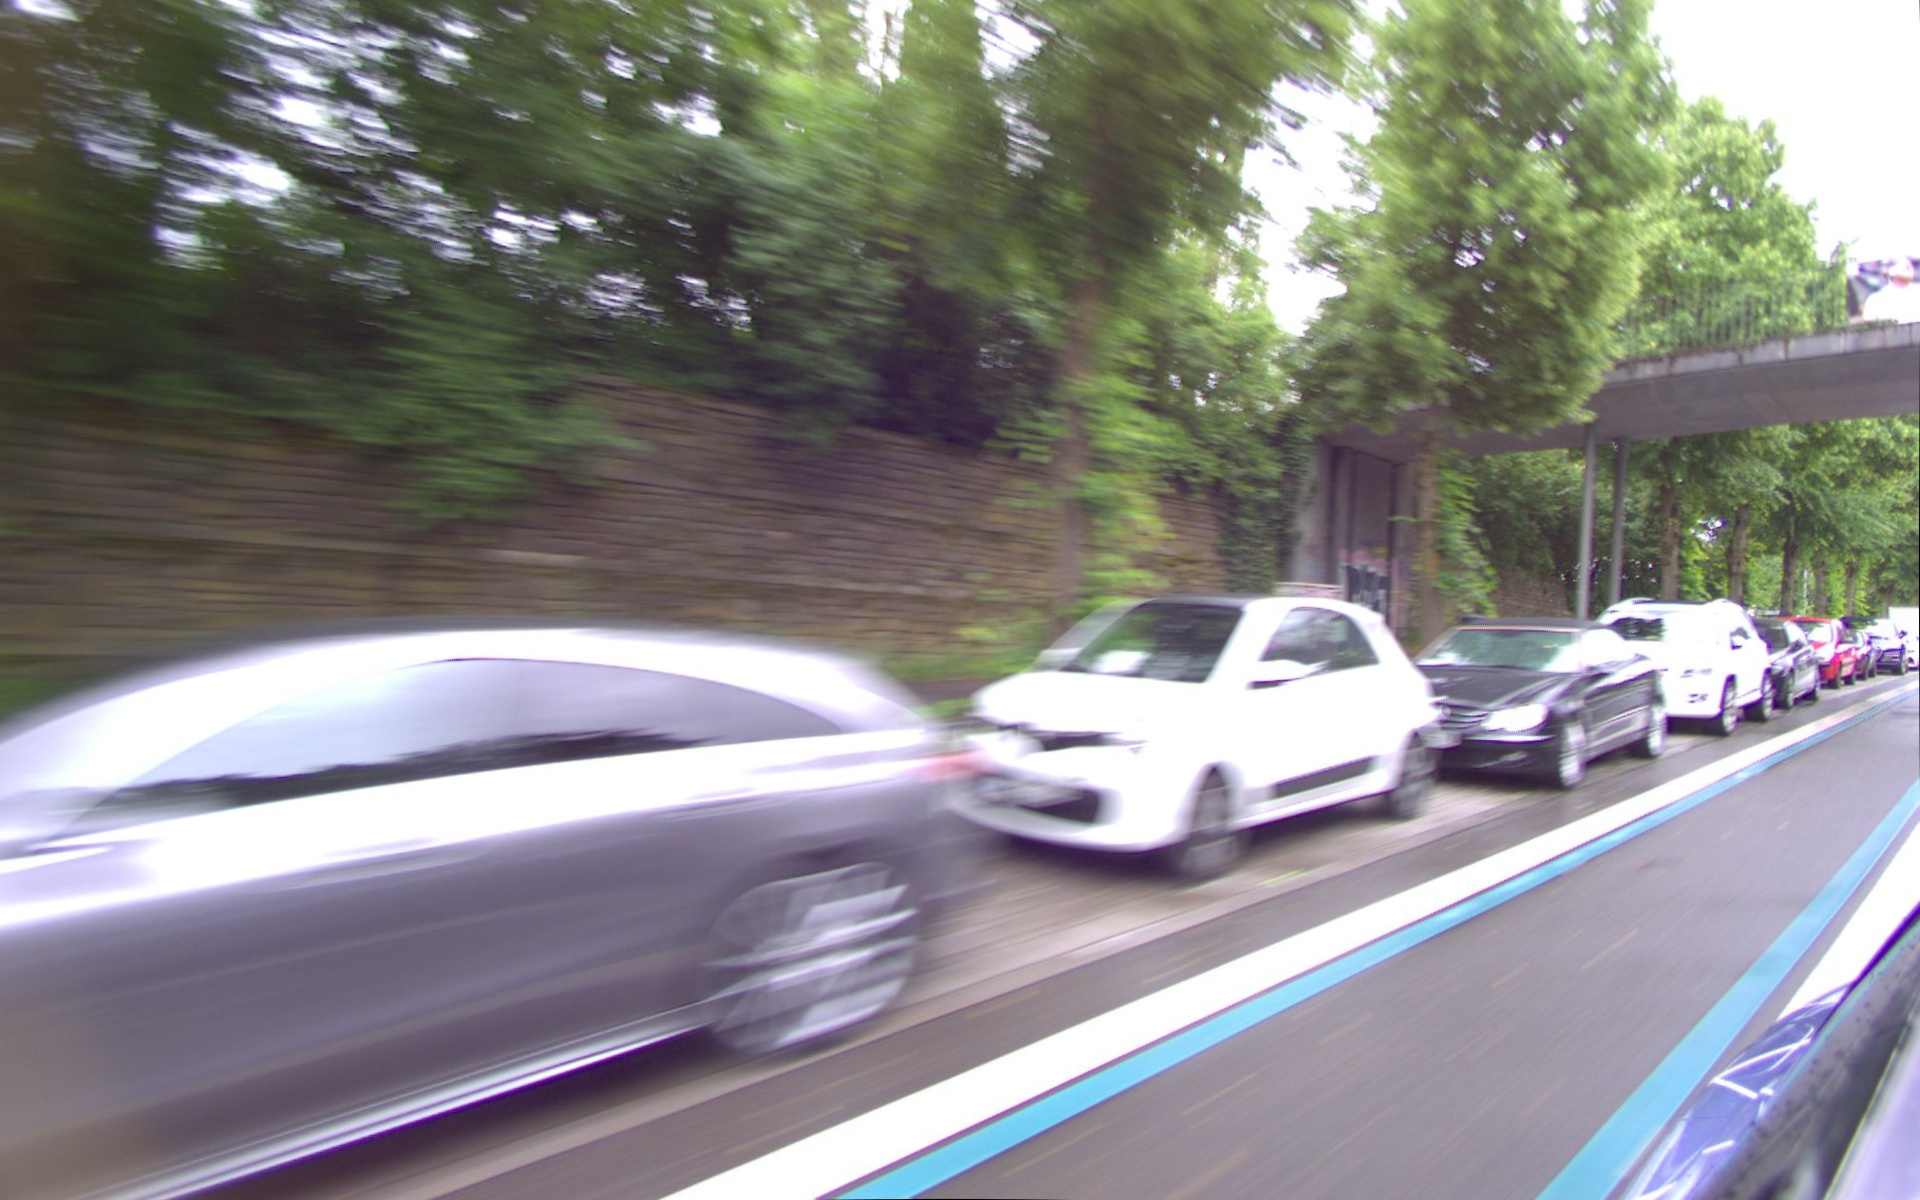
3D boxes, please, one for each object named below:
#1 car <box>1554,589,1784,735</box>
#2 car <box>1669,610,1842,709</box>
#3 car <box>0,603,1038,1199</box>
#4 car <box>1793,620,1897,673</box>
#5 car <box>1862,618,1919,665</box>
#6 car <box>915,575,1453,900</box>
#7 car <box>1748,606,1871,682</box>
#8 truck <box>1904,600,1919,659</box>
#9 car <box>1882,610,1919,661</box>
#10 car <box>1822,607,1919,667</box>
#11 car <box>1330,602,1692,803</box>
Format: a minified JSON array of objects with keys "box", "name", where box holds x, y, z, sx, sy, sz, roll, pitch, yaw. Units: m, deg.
[{"box":[9.567,0.708,13.531,4.189,1.639,1.715,1,0,-43],"name":"car"},{"box":[13.775,0.920,17.434,4.375,1.411,1.675,0,1,-43],"name":"car"},{"box":[-1.943,0.711,3.076,4.387,1.365,1.778,0,0,-40],"name":"car"},{"box":[22.887,1.185,26.131,4.112,1.205,1.627,3,-1,-43],"name":"car"},{"box":[31.288,1.380,33.469,4.537,1.444,1.662,3,-1,-42],"name":"car"},{"box":[1.644,0.662,6.703,3.677,1.554,1.663,0,0,-42],"name":"car"},{"box":[18.507,0.958,22.005,3.562,1.485,1.561,3,-2,-42],"name":"car"},{"box":[40.411,1.267,41.834,3.931,2.363,1.721,3,-1,-42],"name":"truck"},{"box":[36.210,1.381,38.173,4.270,1.813,1.724,3,-1,-42],"name":"car"},{"box":[27.033,1.093,29.939,1.994,1.580,4.566,1,-1,45],"name":"car"},{"box":[5.457,0.769,9.736,4.482,1.393,1.720,-1,2,-43],"name":"car"}]
